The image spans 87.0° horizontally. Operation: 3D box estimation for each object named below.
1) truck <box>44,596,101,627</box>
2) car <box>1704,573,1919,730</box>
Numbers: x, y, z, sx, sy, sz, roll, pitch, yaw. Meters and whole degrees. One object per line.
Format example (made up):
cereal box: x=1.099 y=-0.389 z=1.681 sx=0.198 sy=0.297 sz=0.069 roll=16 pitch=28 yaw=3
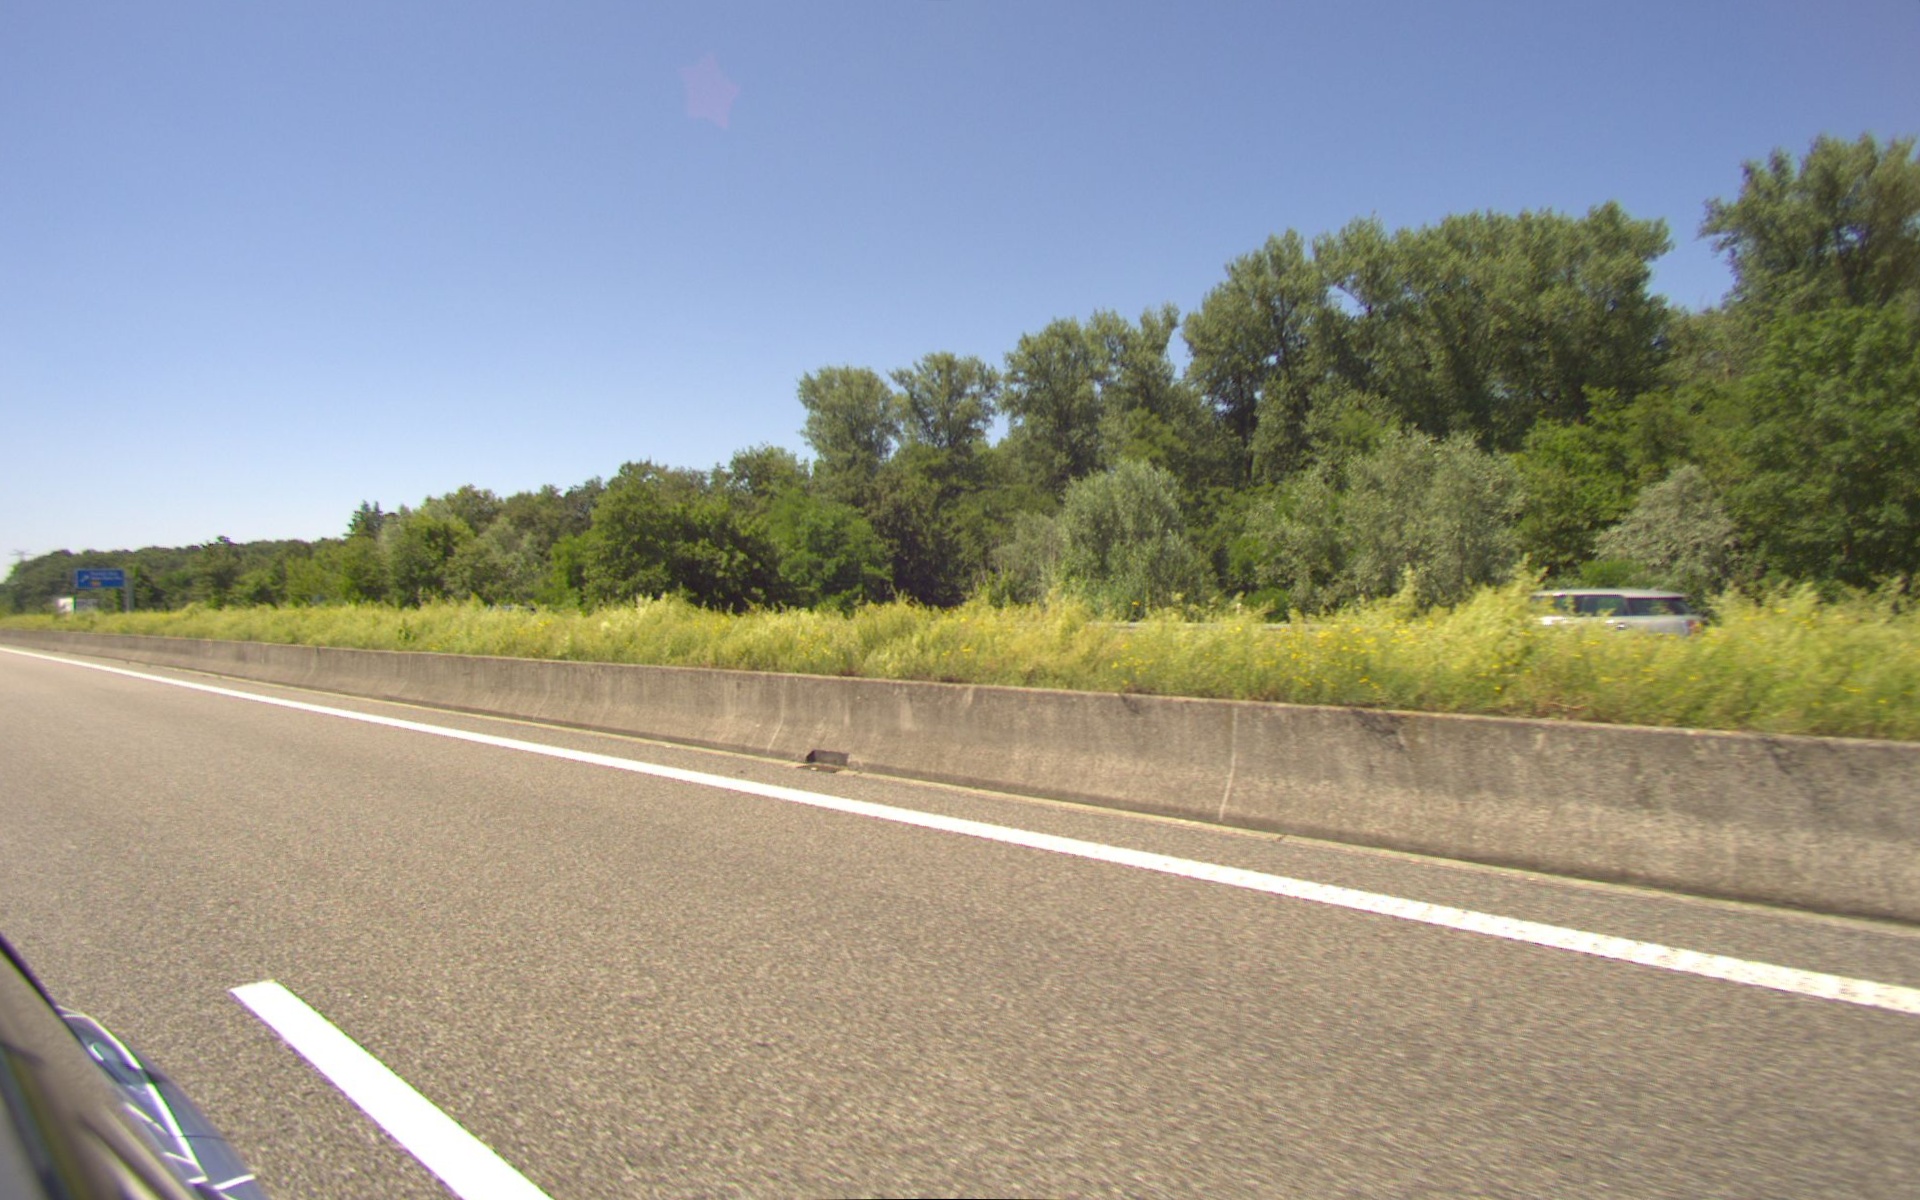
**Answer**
truck: x=-118.475 y=1.544 z=134.930 sx=17.477 sy=3.763 sz=3.560 roll=-2 pitch=-1 yaw=41
car: x=12.893 y=0.670 z=14.040 sx=3.998 sy=2.029 sz=1.973 roll=-1 pitch=-1 yaw=41
